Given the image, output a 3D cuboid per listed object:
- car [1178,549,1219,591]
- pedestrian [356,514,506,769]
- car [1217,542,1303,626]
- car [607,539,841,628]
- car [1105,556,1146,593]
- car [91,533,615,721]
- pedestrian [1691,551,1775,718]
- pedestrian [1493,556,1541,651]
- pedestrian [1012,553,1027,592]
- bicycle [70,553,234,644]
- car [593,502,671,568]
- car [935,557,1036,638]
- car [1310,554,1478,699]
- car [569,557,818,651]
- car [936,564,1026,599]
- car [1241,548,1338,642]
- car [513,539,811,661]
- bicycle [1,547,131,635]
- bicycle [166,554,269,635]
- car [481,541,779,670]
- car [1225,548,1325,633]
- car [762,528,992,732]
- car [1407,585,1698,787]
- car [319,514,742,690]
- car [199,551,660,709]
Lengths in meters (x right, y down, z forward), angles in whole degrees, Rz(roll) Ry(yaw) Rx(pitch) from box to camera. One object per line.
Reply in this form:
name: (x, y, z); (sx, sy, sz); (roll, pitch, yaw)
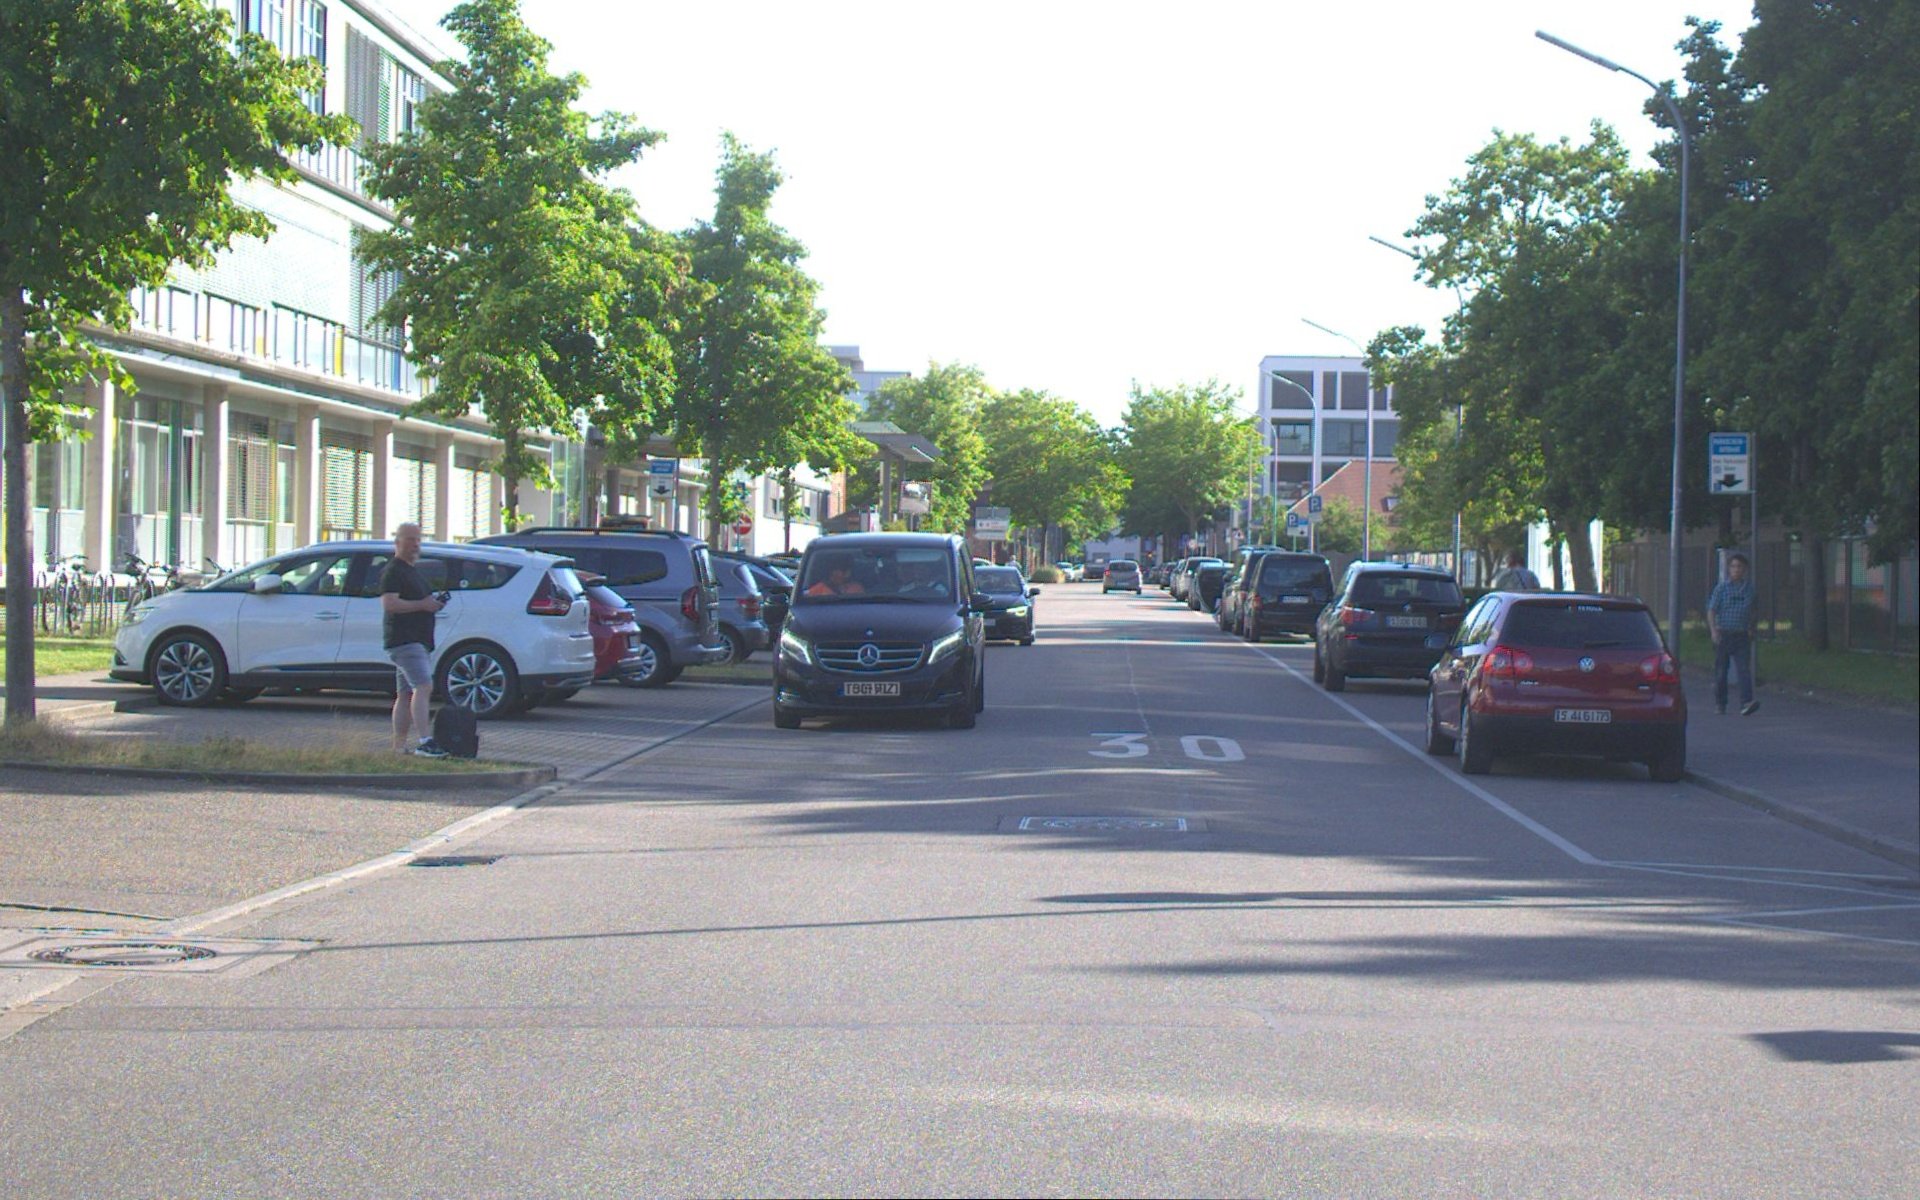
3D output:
car: (9.049, -1.147, 130.794); (1.436, 1.555, 3.042); (1, 1, 2)
pedestrian: (-3.955, 0.299, 25.732); (0.858, 1.836, 0.825); (3, 1, 4)
car: (7.148, -0.400, 82.201); (1.875, 1.971, 4.000); (0, 1, 2)
car: (-4.374, -0.317, 64.192); (4.213, 1.457, 1.872); (3, 1, -1)
car: (7.242, -1.129, 150.818); (1.743, 1.538, 4.000); (2, 1, 2)
car: (-5.814, 0.245, 33.202); (4.613, 1.645, 1.867); (1, 0, 6)
pedestrian: (8.237, 0.358, 36.657); (0.718, 1.752, 0.884); (-1, 1, 3)
pedestrian: (9.812, 0.058, 60.558); (0.698, 1.655, 0.752); (-2, 1, 2)
pedestrian: (2.515, -1.172, 146.020); (0.618, 1.618, 0.716); (0, 1, 2)
bicycle: (-10.923, -0.008, 46.581); (0.870, 1.149, 2.370); (3, 0, 24)
car: (-10.781, -2.118, 113.350); (1.994, 2.007, 3.999); (1, 0, 2)
car: (0.505, -0.069, 63.330); (1.704, 1.446, 4.086); (0, 1, 3)
car: (5.601, 0.298, 44.789); (1.812, 1.660, 4.592); (2, 2, 4)
car: (-4.407, 0.053, 57.226); (3.987, 1.354, 1.743); (3, 1, -1)
car: (0.976, -0.838, 157.647); (3.987, 1.514, 2.000); (1, -1, 3)
car: (6.658, -0.117, 69.725); (1.733, 1.824, 3.905); (1, 1, 3)
car: (-4.404, -0.010, 51.380); (4.246, 1.606, 2.048); (3, 1, -1)
bicycle: (-12.270, -0.118, 47.236); (0.869, 1.149, 1.991); (3, 0, 12)
bicycle: (-10.868, -0.085, 50.372); (0.892, 1.107, 1.889); (3, 2, 6)
car: (-4.607, 0.060, 48.433); (3.987, 1.601, 1.872); (3, 1, -1)
car: (6.923, -0.228, 75.959); (1.994, 1.816, 4.198); (0, 1, 2)
car: (-0.743, 0.244, 34.291); (1.955, 1.861, 5.255); (-1, 1, 2)
car: (4.858, 0.648, 28.770); (1.720, 1.450, 4.652); (2, 1, 2)
car: (-5.132, 0.009, 41.456); (4.743, 1.858, 1.827); (3, 1, 3)
car: (-5.479, 0.293, 35.822); (4.434, 1.496, 1.827); (1, 0, 3)
